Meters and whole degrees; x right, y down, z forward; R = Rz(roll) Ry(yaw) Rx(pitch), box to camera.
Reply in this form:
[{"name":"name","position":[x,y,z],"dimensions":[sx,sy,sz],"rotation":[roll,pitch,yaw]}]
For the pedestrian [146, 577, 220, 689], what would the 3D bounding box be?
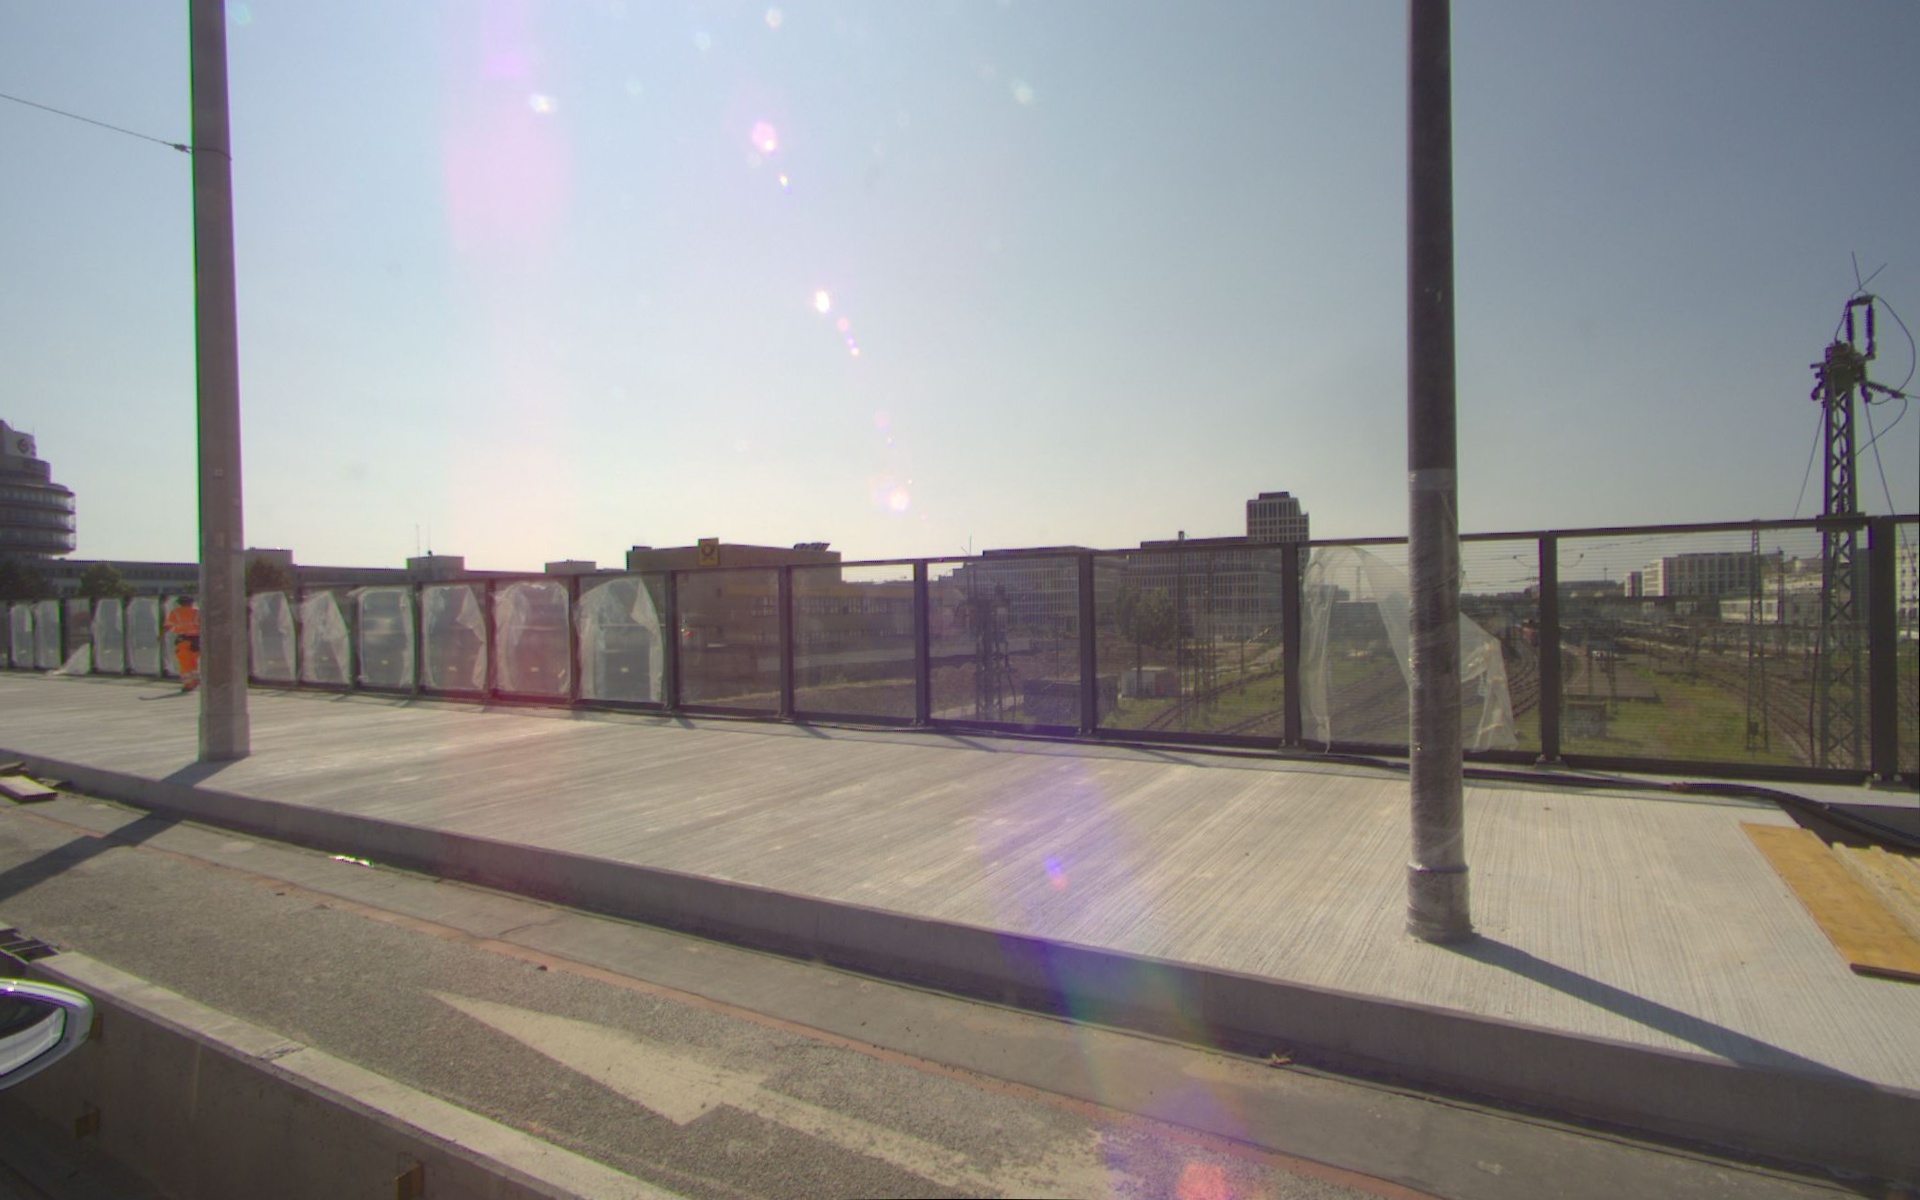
[{"name":"pedestrian","position":[-14.032,0.576,18.087],"dimensions":[0.788,1.961,0.780],"rotation":[-1,1,32]}]
